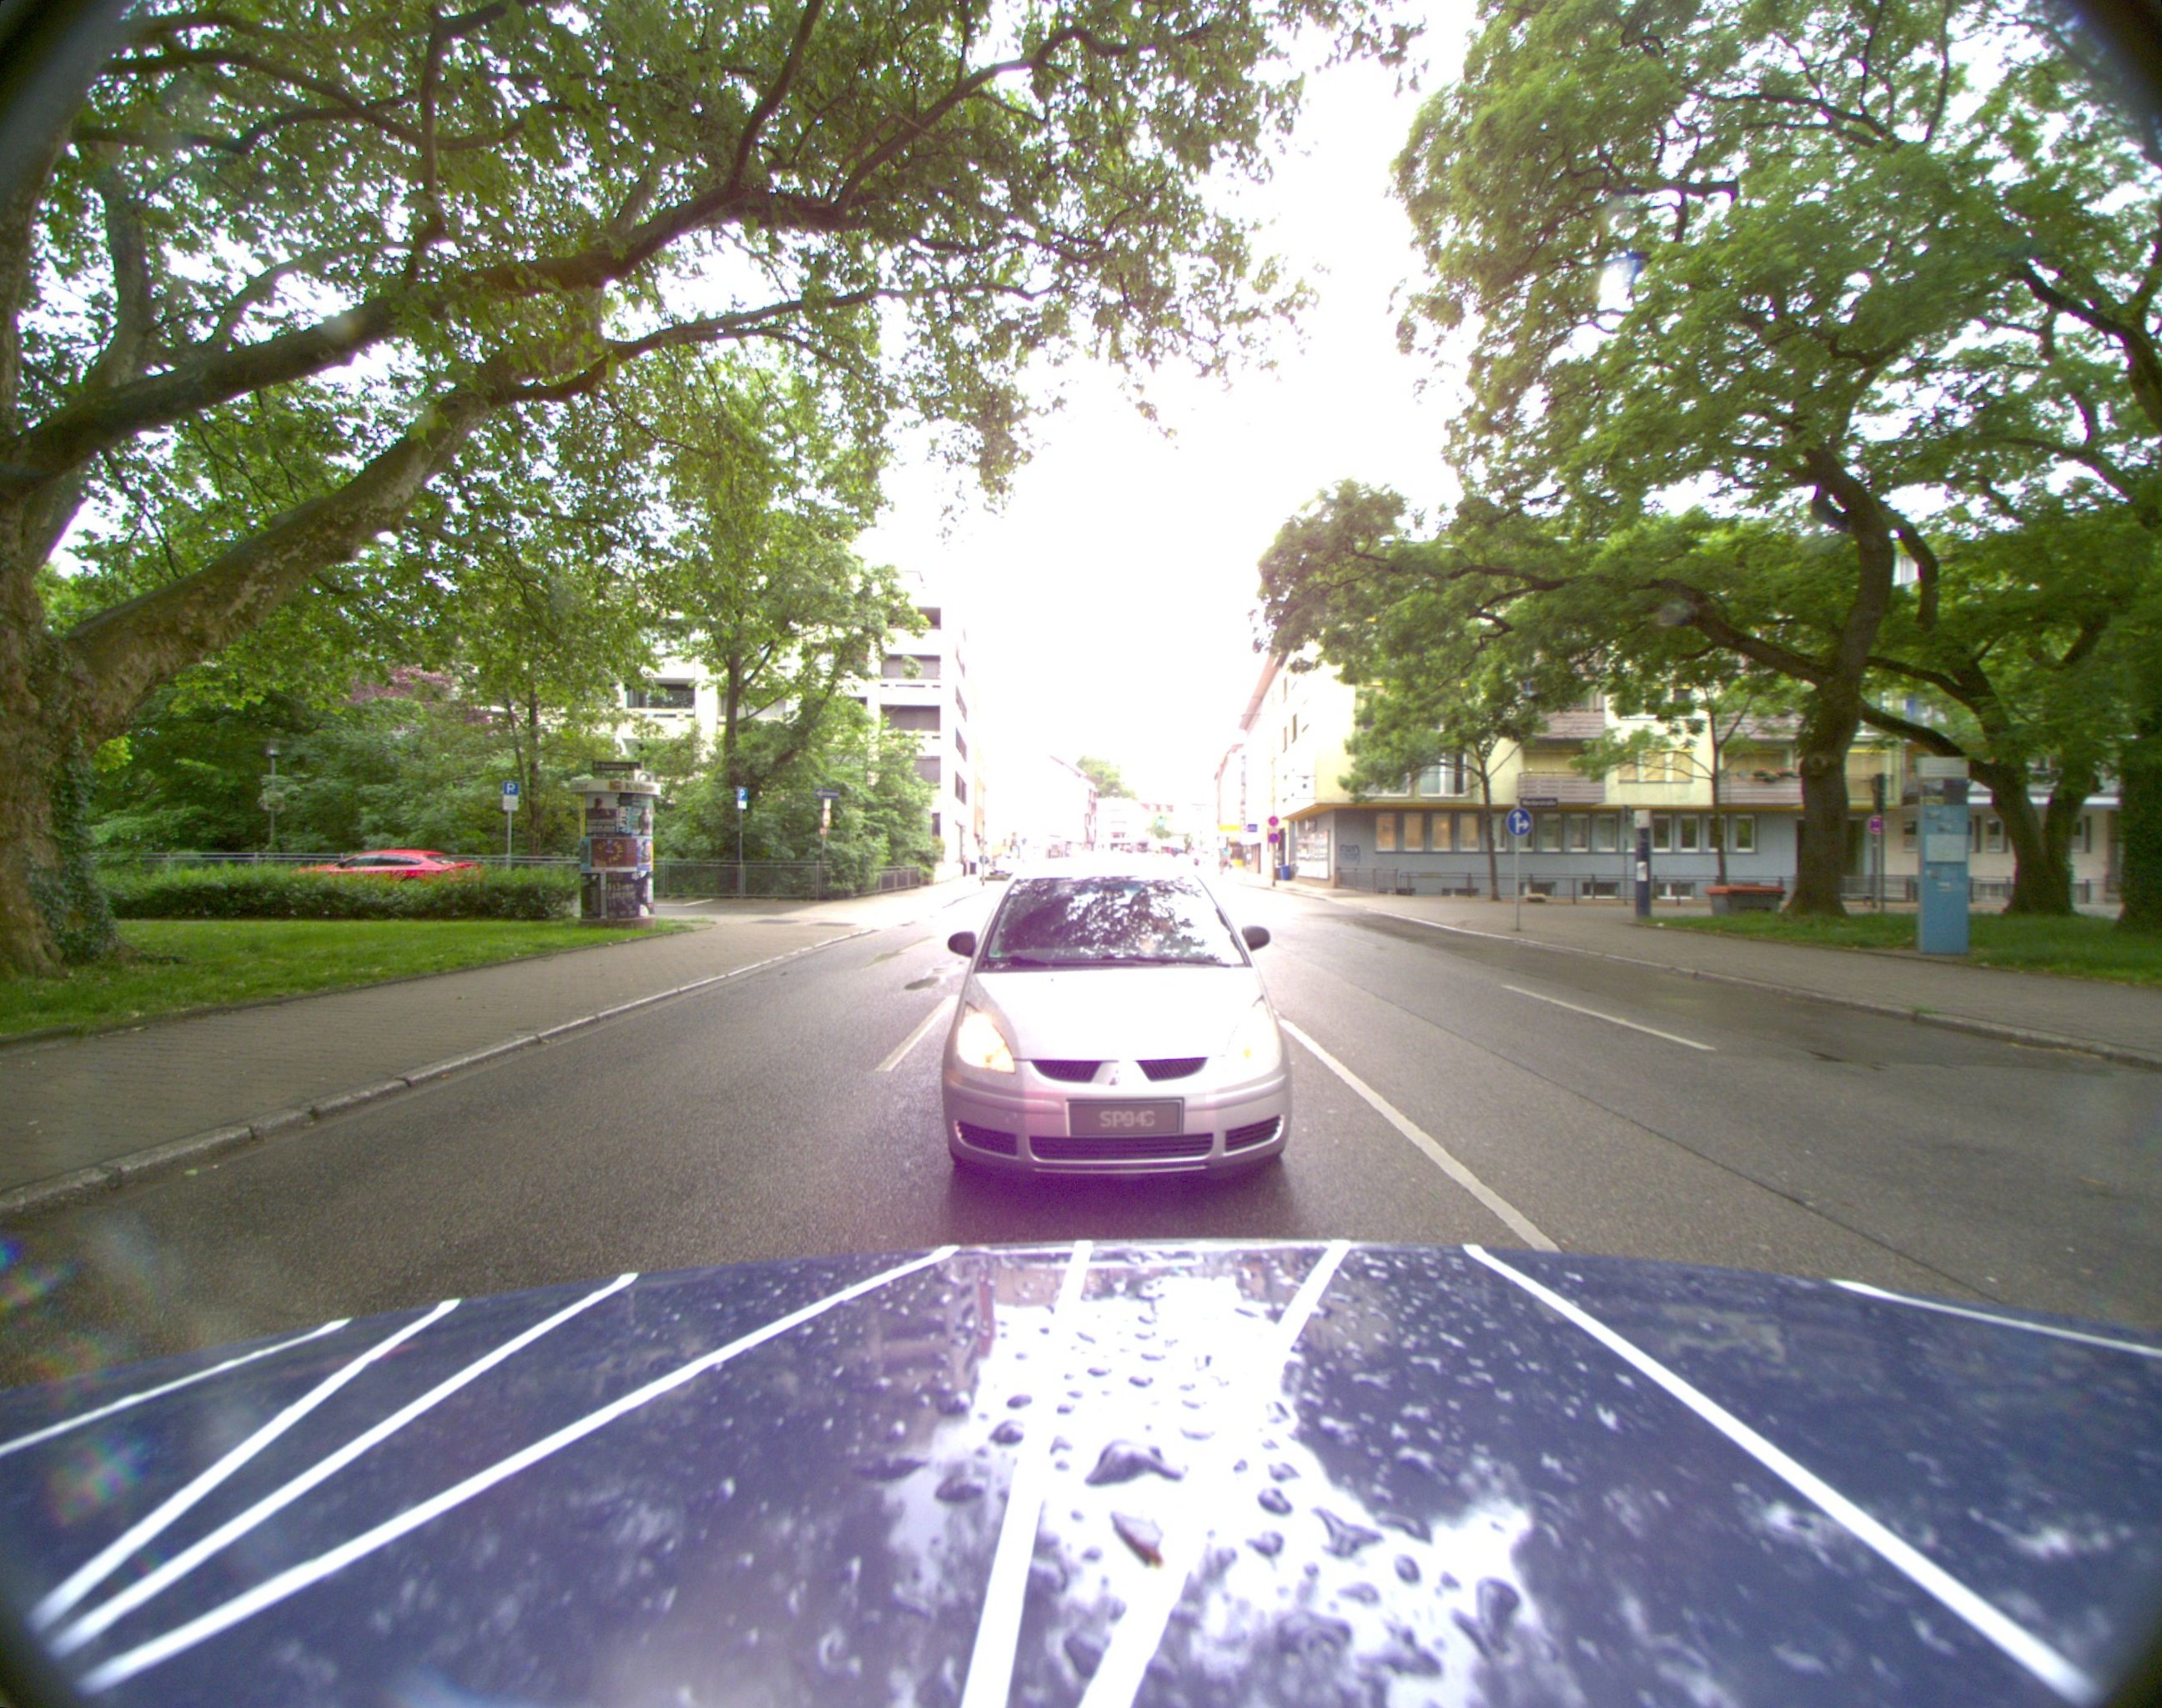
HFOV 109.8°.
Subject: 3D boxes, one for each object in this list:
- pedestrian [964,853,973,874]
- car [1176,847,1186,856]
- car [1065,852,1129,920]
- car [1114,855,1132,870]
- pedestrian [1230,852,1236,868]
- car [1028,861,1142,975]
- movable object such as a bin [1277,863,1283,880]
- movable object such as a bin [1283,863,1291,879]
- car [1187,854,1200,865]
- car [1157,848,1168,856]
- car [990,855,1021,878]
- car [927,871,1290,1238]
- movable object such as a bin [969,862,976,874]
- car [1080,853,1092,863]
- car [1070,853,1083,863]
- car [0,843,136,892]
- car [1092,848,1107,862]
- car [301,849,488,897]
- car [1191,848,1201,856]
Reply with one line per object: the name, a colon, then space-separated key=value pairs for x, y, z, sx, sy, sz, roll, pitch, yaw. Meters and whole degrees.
pedestrian: x=-8.059 y=0.677 z=54.578 sx=0.480 sy=1.521 sz=0.481 roll=-2 pitch=1 yaw=1
car: x=21.800 y=-0.522 z=165.245 sx=1.998 sy=1.841 sz=4.001 roll=1 pitch=0 yaw=4
car: x=0.389 y=0.801 z=20.919 sx=1.584 sy=1.705 sz=3.649 roll=1 pitch=0 yaw=0
car: x=4.322 y=0.879 z=78.637 sx=1.701 sy=1.433 sz=3.897 roll=1 pitch=0 yaw=1
pedestrian: x=17.480 y=0.652 z=87.523 sx=0.594 sy=1.833 sz=0.565 roll=1 pitch=1 yaw=8
car: x=0.134 y=0.923 z=12.637 sx=1.590 sy=1.540 sz=3.771 roll=1 pitch=0 yaw=2
movable object such as a bin: x=12.683 y=1.116 z=48.406 sx=0.338 sy=1.023 sz=0.353 roll=1 pitch=1 yaw=8
movable object such as a bin: x=13.094 y=1.078 z=48.297 sx=0.415 sy=1.023 sz=0.353 roll=1 pitch=1 yaw=8
car: x=17.947 y=0.813 z=121.422 sx=1.889 sy=1.707 sz=4.001 roll=1 pitch=0 yaw=4
car: x=16.725 y=-0.360 z=155.830 sx=1.998 sy=1.631 sz=4.001 roll=1 pitch=0 yaw=4
car: x=-5.304 y=0.864 z=53.522 sx=1.681 sy=1.424 sz=3.681 roll=3 pitch=0 yaw=1
car: x=0.150 y=0.932 z=4.988 sx=1.576 sy=1.514 sz=3.241 roll=-1 pitch=0 yaw=1
movable object such as a bin: x=-8.983 y=1.170 z=62.949 sx=0.556 sy=1.035 sz=0.292 roll=1 pitch=1 yaw=0
car: x=0.731 y=0.639 z=116.186 sx=1.802 sy=1.433 sz=3.897 roll=1 pitch=0 yaw=1
car: x=-0.656 y=0.523 z=111.837 sx=1.802 sy=1.433 sz=3.896 roll=1 pitch=0 yaw=0
car: x=-29.204 y=0.361 z=21.258 sx=3.468 sy=1.271 sz=1.448 roll=1 pitch=1 yaw=-5
car: x=2.535 y=0.151 z=106.543 sx=1.935 sy=1.817 sz=3.999 roll=-2 pitch=1 yaw=0
car: x=-19.387 y=0.517 z=21.574 sx=3.790 sy=1.271 sz=1.576 roll=1 pitch=1 yaw=-3
car: x=24.758 y=-0.364 z=164.217 sx=1.867 sy=1.648 sz=4.001 roll=1 pitch=0 yaw=4
